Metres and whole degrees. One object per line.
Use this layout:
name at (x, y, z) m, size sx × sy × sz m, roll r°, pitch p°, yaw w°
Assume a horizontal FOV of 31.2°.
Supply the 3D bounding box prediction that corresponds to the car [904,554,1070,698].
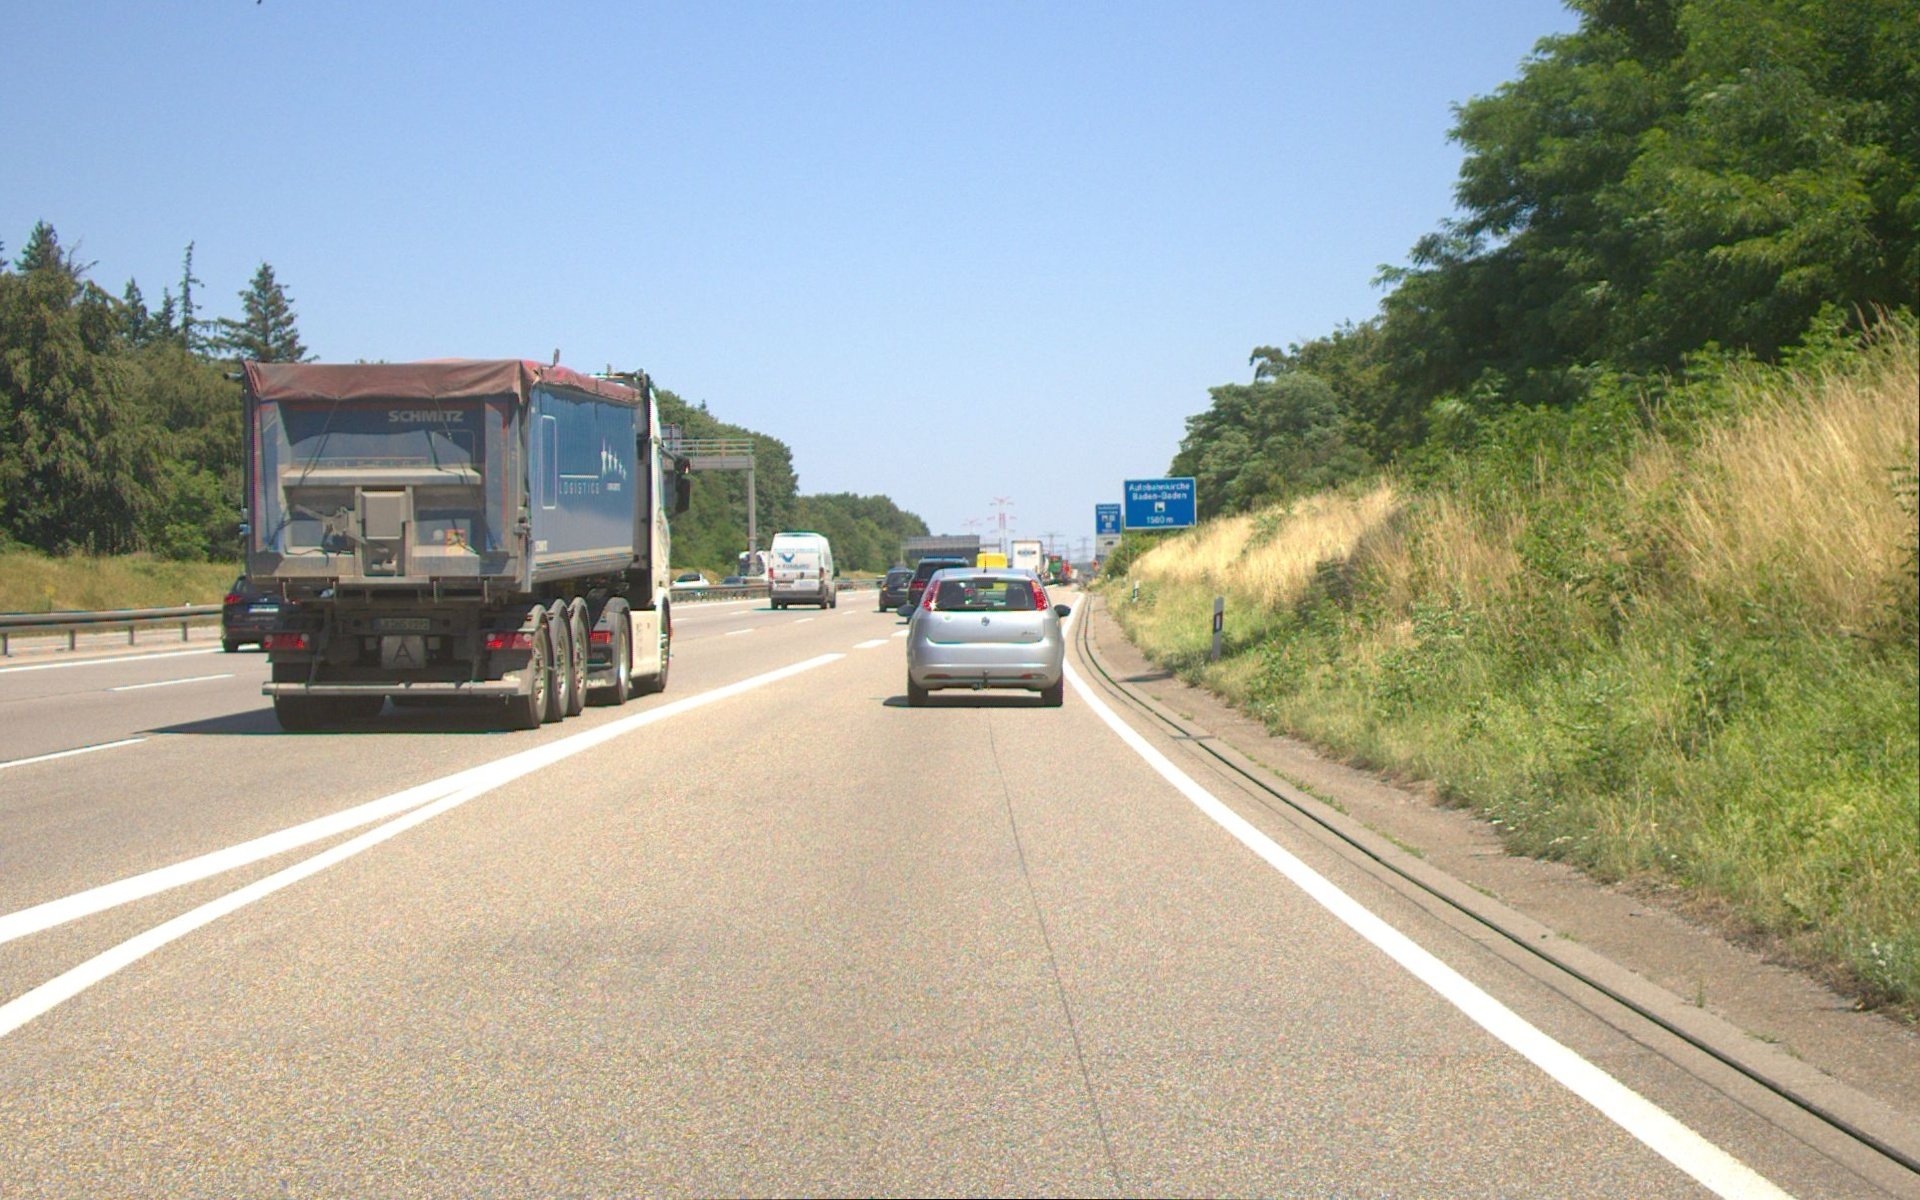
car at (0.285, 0.243, 37.553) m, size 1.719 × 1.486 × 3.737 m, roll 0°, pitch 1°, yaw 0°

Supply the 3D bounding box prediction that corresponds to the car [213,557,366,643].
car at (-12.149, -0.025, 62.531) m, size 1.703 × 1.469 × 4.596 m, roll -1°, pitch 1°, yaw 2°

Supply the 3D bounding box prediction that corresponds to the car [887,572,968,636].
car at (-0.850, 0.095, 92.210) m, size 1.832 × 1.666 × 3.999 m, roll 1°, pitch 0°, yaw 4°

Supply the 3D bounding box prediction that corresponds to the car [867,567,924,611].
car at (-2.192, -0.395, 117.455) m, size 1.894 × 1.464 × 4.261 m, roll 0°, pitch 1°, yaw 0°

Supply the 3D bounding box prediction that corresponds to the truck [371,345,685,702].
truck at (-4.804, -0.844, 39.310) m, size 2.684 × 3.746 × 5.944 m, roll -1°, pitch 1°, yaw 1°

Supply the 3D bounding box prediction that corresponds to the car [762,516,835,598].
car at (-5.916, -1.561, 126.544) m, size 2.260 × 2.940 × 6.113 m, roll 0°, pitch 0°, yaw 1°

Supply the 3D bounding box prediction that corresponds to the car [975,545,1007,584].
car at (1.645, -1.831, 179.065) m, size 1.611 × 2.007 × 4.000 m, roll 0°, pitch 0°, yaw 1°

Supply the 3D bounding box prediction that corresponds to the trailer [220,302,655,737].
trailer at (-4.945, -0.760, 34.449) m, size 2.737 × 3.746 × 9.109 m, roll -1°, pitch 1°, yaw 1°
